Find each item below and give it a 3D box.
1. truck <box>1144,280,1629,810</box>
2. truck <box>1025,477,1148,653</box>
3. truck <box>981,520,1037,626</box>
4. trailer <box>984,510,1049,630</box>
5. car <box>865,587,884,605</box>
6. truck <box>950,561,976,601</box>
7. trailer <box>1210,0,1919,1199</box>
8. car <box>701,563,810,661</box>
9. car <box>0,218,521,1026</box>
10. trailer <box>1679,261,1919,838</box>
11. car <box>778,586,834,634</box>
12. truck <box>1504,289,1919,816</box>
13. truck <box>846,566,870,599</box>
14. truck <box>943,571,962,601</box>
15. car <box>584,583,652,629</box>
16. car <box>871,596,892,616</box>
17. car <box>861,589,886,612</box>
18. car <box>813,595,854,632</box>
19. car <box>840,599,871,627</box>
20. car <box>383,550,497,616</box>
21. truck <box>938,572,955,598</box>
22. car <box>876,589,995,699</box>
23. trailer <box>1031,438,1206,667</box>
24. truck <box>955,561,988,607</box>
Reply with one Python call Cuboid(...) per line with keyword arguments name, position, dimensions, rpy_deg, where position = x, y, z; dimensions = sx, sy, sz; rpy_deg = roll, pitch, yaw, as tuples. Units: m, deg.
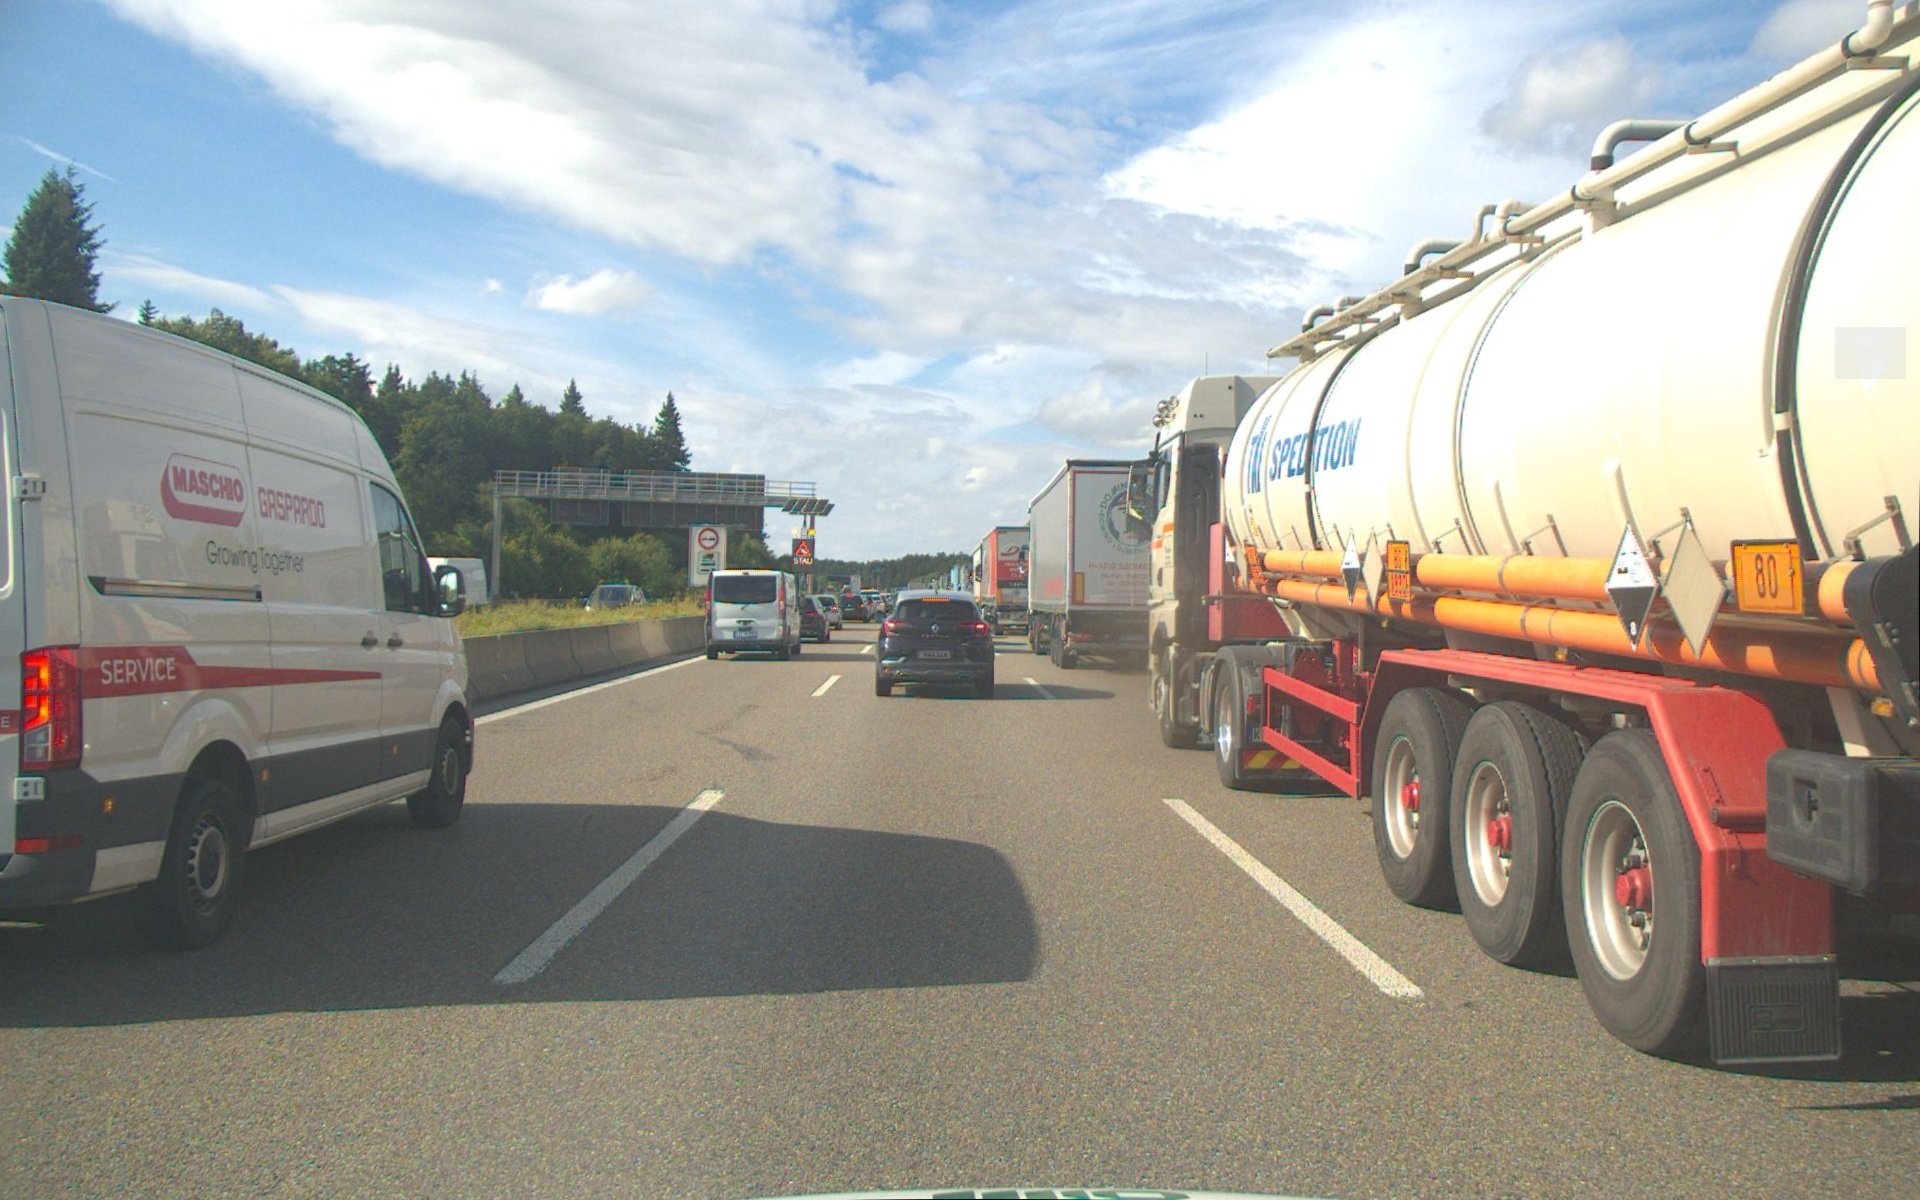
Cuboid(name="truck", position=(3.344, -0.373, 14.843), dimensions=(2.482, 3.646, 6.727), rpy_deg=(1, 0, -1))
Cuboid(name="truck", position=(3.242, -0.855, 43.874), dimensions=(2.729, 4.321, 6.459), rpy_deg=(0, 0, 0))
Cuboid(name="truck", position=(2.040, -1.098, 71.129), dimensions=(2.090, 4.357, 6.337), rpy_deg=(1, 0, -1))
Cuboid(name="trailer", position=(2.118, -1.089, 64.706), dimensions=(2.106, 4.333, 8.439), rpy_deg=(1, 0, -1))
Cuboid(name="car", position=(-6.385, -0.280, 123.830), dimensions=(1.333, 1.260, 3.084), rpy_deg=(1, 0, -1))
Cuboid(name="truck", position=(0.253, -1.567, 137.965), dimensions=(1.953, 3.105, 4.980), rpy_deg=(4, 0, -1))
Cuboid(name="trailer", position=(3.428, -0.378, 8.581), dimensions=(2.489, 3.718, 10.624), rpy_deg=(1, 0, -1))
Cuboid(name="car", position=(-4.704, 0.272, 38.685), dimensions=(1.894, 2.013, 5.097), rpy_deg=(4, 0, -1))
Cuboid(name="car", position=(-4.028, 0.062, 8.480), dimensions=(1.974, 2.644, 6.180), rpy_deg=(0, 0, -1))
Cuboid(name="trailer", position=(7.356, -0.324, 8.615), dimensions=(2.489, 3.661, 10.624), rpy_deg=(0, 0, -1))
Cuboid(name="car", position=(-4.709, 0.306, 50.898), dimensions=(1.469, 1.420, 3.475), rpy_deg=(0, 0, -1))
Cuboid(name="truck", position=(7.270, -0.318, 14.836), dimensions=(2.478, 3.636, 6.774), rpy_deg=(0, 0, -1))
Cuboid(name="truck", position=(-12.089, -2.064, 196.152), dimensions=(2.297, 3.656, 6.304), rpy_deg=(4, 0, -1))
Cuboid(name="truck", position=(-0.834, -1.522, 184.009), dimensions=(1.953, 3.105, 4.980), rpy_deg=(4, 0, -1))
Cuboid(name="car", position=(-12.742, 0.207, 61.825), dimensions=(1.791, 1.633, 3.808), rpy_deg=(1, 0, -1))
Cuboid(name="car", position=(-5.573, 0.457, 118.272), dimensions=(1.333, 1.323, 3.084), rpy_deg=(4, 0, -1))
Cuboid(name="car", position=(-5.377, 0.023, 102.946), dimensions=(1.406, 1.333, 3.532), rpy_deg=(4, 0, -2))
Cuboid(name="car", position=(-5.357, 0.559, 70.492), dimensions=(1.470, 1.420, 3.475), rpy_deg=(4, 0, -1))
Cuboid(name="car", position=(-5.505, 0.678, 87.074), dimensions=(1.406, 1.333, 3.532), rpy_deg=(4, 0, -2))
Cuboid(name="car", position=(-19.867, -0.613, 63.517), dimensions=(2.269, 2.231, 6.860), rpy_deg=(4, 0, -2))
Cuboid(name="truck", position=(-1.662, -1.889, 210.241), dimensions=(1.953, 3.105, 4.980), rpy_deg=(4, 0, -1))
Cuboid(name="car", position=(-0.348, 0.615, 25.642), dimensions=(1.662, 1.508, 4.160), rpy_deg=(1, 1, 0))
Cuboid(name="trailer", position=(3.241, -0.887, 36.800), dimensions=(2.745, 4.318, 11.055), rpy_deg=(0, 0, 0))
Cuboid(name="truck", position=(0.775, -1.049, 112.481), dimensions=(1.953, 2.982, 4.980), rpy_deg=(4, 0, -1))
